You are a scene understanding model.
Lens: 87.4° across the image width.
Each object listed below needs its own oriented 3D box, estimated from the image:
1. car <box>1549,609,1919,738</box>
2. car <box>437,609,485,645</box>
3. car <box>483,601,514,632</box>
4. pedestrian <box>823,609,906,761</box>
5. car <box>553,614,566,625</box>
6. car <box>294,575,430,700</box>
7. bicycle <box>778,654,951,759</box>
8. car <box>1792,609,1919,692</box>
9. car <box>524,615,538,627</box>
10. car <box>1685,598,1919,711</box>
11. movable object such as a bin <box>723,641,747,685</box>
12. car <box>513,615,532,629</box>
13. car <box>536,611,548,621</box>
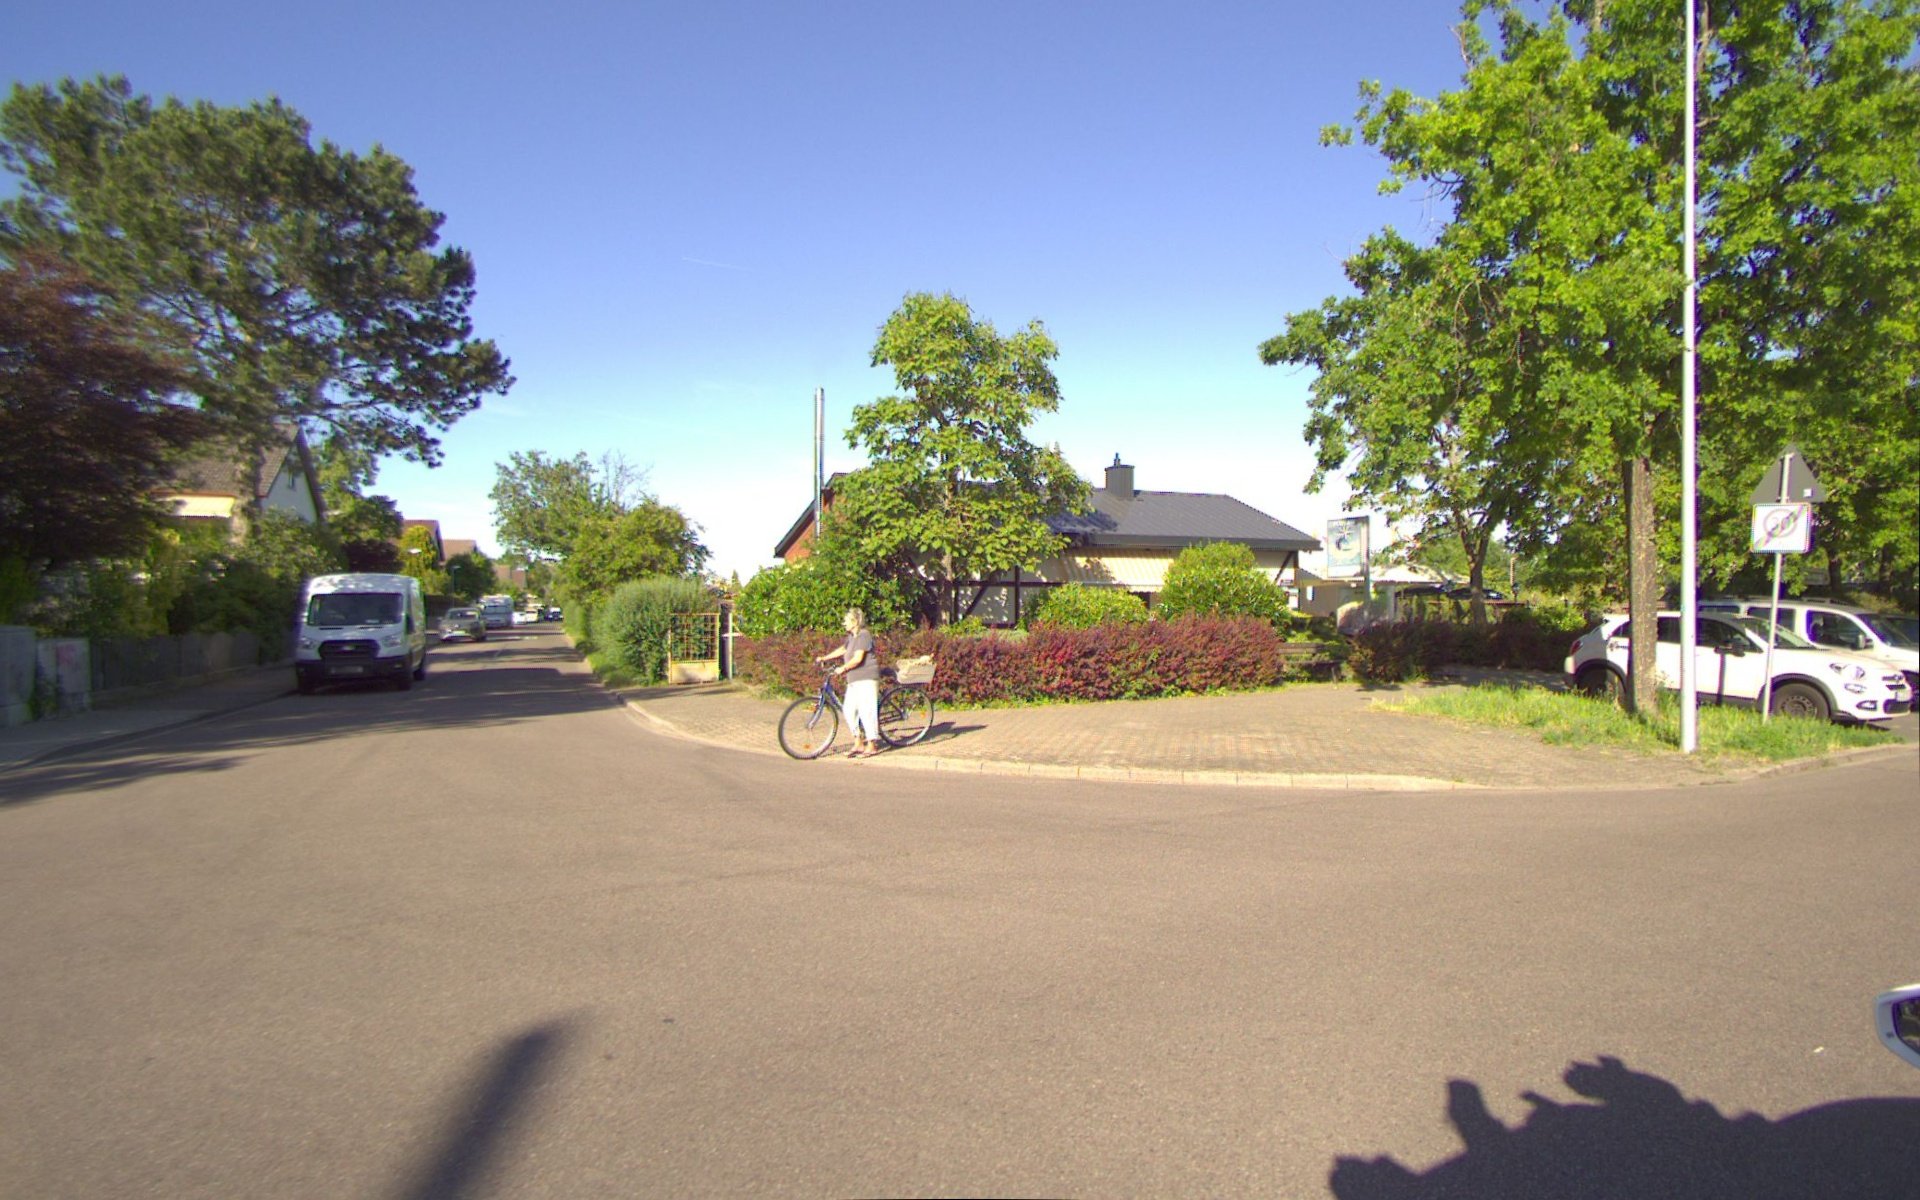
[{"bbox_3d":[11.591,0.970,15.252,1.874,1.644,4.222,0,0,-30],"label":"car"},{"bbox_3d":[-24.390,1.303,49.200,1.880,1.662,4.452,0,-1,-23],"label":"car"},{"bbox_3d":[-37.340,1.328,81.365,1.970,2.481,4.953,0,-1,-21],"label":"car"},{"bbox_3d":[-1.030,0.892,10.837,0.791,1.577,0.439,0,0,-28],"label":"pedestrian"},{"bbox_3d":[-62.144,2.967,155.743,1.787,1.648,4.086,0,-1,-22],"label":"car"},{"bbox_3d":[-12.942,0.752,22.084,1.973,2.380,5.600,0,-1,-25],"label":"car"},{"bbox_3d":[-1.045,1.151,11.145,1.866,1.053,0.446,0,0,-24],"label":"bicycle"},{"bbox_3d":[20.178,1.028,20.923,1.874,1.669,3.997,0,0,-30],"label":"car"},{"bbox_3d":[-61.862,2.976,144.916,1.787,1.648,4.086,0,-1,-22],"label":"car"},{"bbox_3d":[15.938,0.908,18.325,1.874,1.864,3.997,0,0,-30],"label":"car"},{"bbox_3d":[-5.158,1.431,23.005,0.492,0.949,0.612,-1,0,-16],"label":"movable object such as a bin"},{"bbox_3d":[-53.922,2.652,123.871,1.971,1.648,4.245,0,-1,-22],"label":"car"},{"bbox_3d":[-71.236,2.711,171.125,1.787,1.648,4.086,0,-1,-22],"label":"car"}]
